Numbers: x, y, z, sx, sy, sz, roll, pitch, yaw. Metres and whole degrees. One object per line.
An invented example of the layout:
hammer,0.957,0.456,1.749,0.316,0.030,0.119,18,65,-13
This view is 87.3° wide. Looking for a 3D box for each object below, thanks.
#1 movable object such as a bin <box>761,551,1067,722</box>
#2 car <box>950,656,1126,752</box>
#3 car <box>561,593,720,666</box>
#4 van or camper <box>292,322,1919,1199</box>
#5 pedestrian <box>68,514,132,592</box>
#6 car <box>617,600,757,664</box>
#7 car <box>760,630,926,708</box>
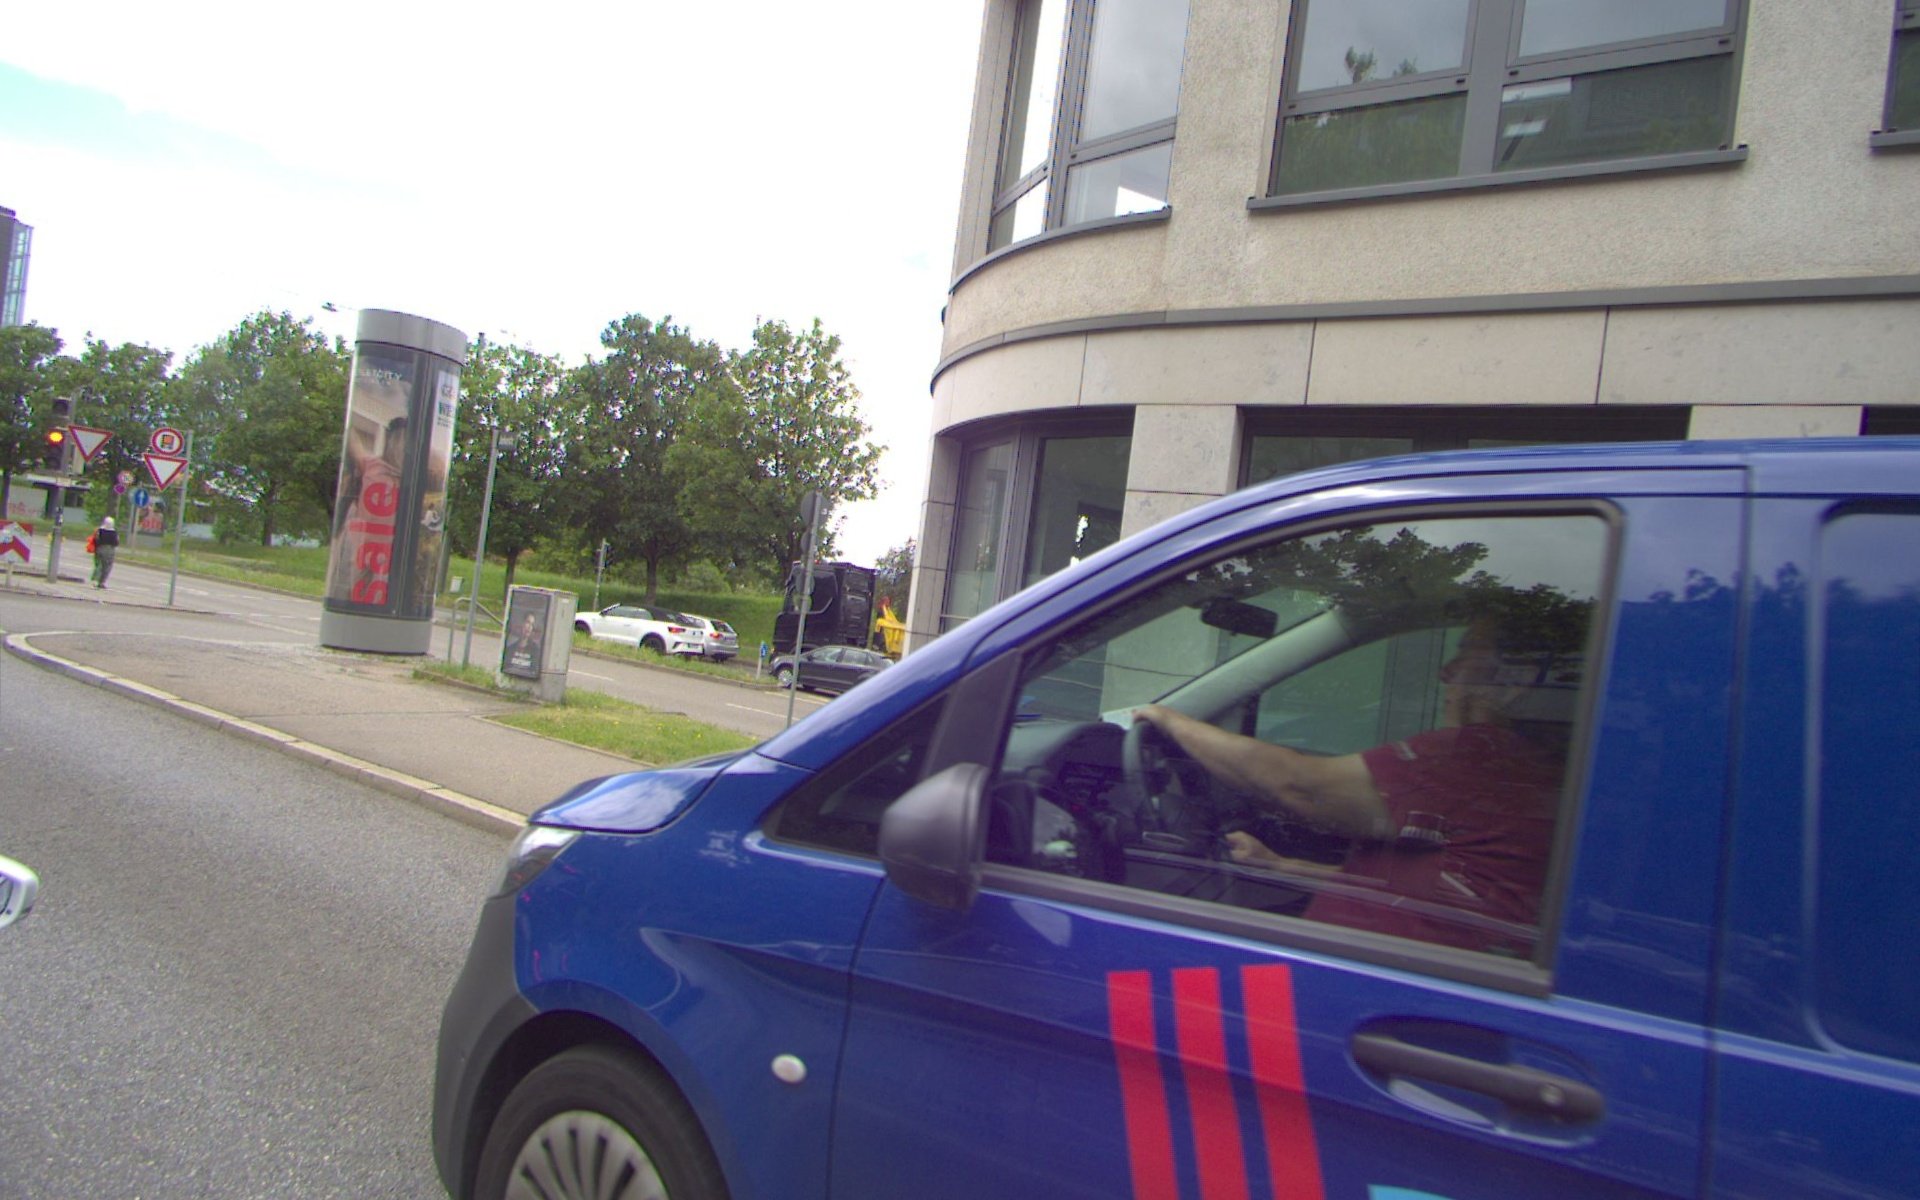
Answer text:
movable object such as a bin,-1.387,1.051,30.558,8.410,3.949,2.870,7,-1,18
car,2.027,2.630,25.707,3.925,1.723,2.003,8,-3,19
car,-9.487,0.889,29.968,3.925,1.469,2.003,8,-3,19
van or camper,1.192,0.790,1.701,4.948,1.934,1.862,7,-1,32
pedestrian,-18.982,-1.028,22.220,0.564,1.602,0.740,9,-2,-8
car,-9.095,1.077,33.596,3.925,1.469,2.003,8,-3,19
car,-3.189,1.909,27.728,3.925,1.469,2.003,8,-3,19
